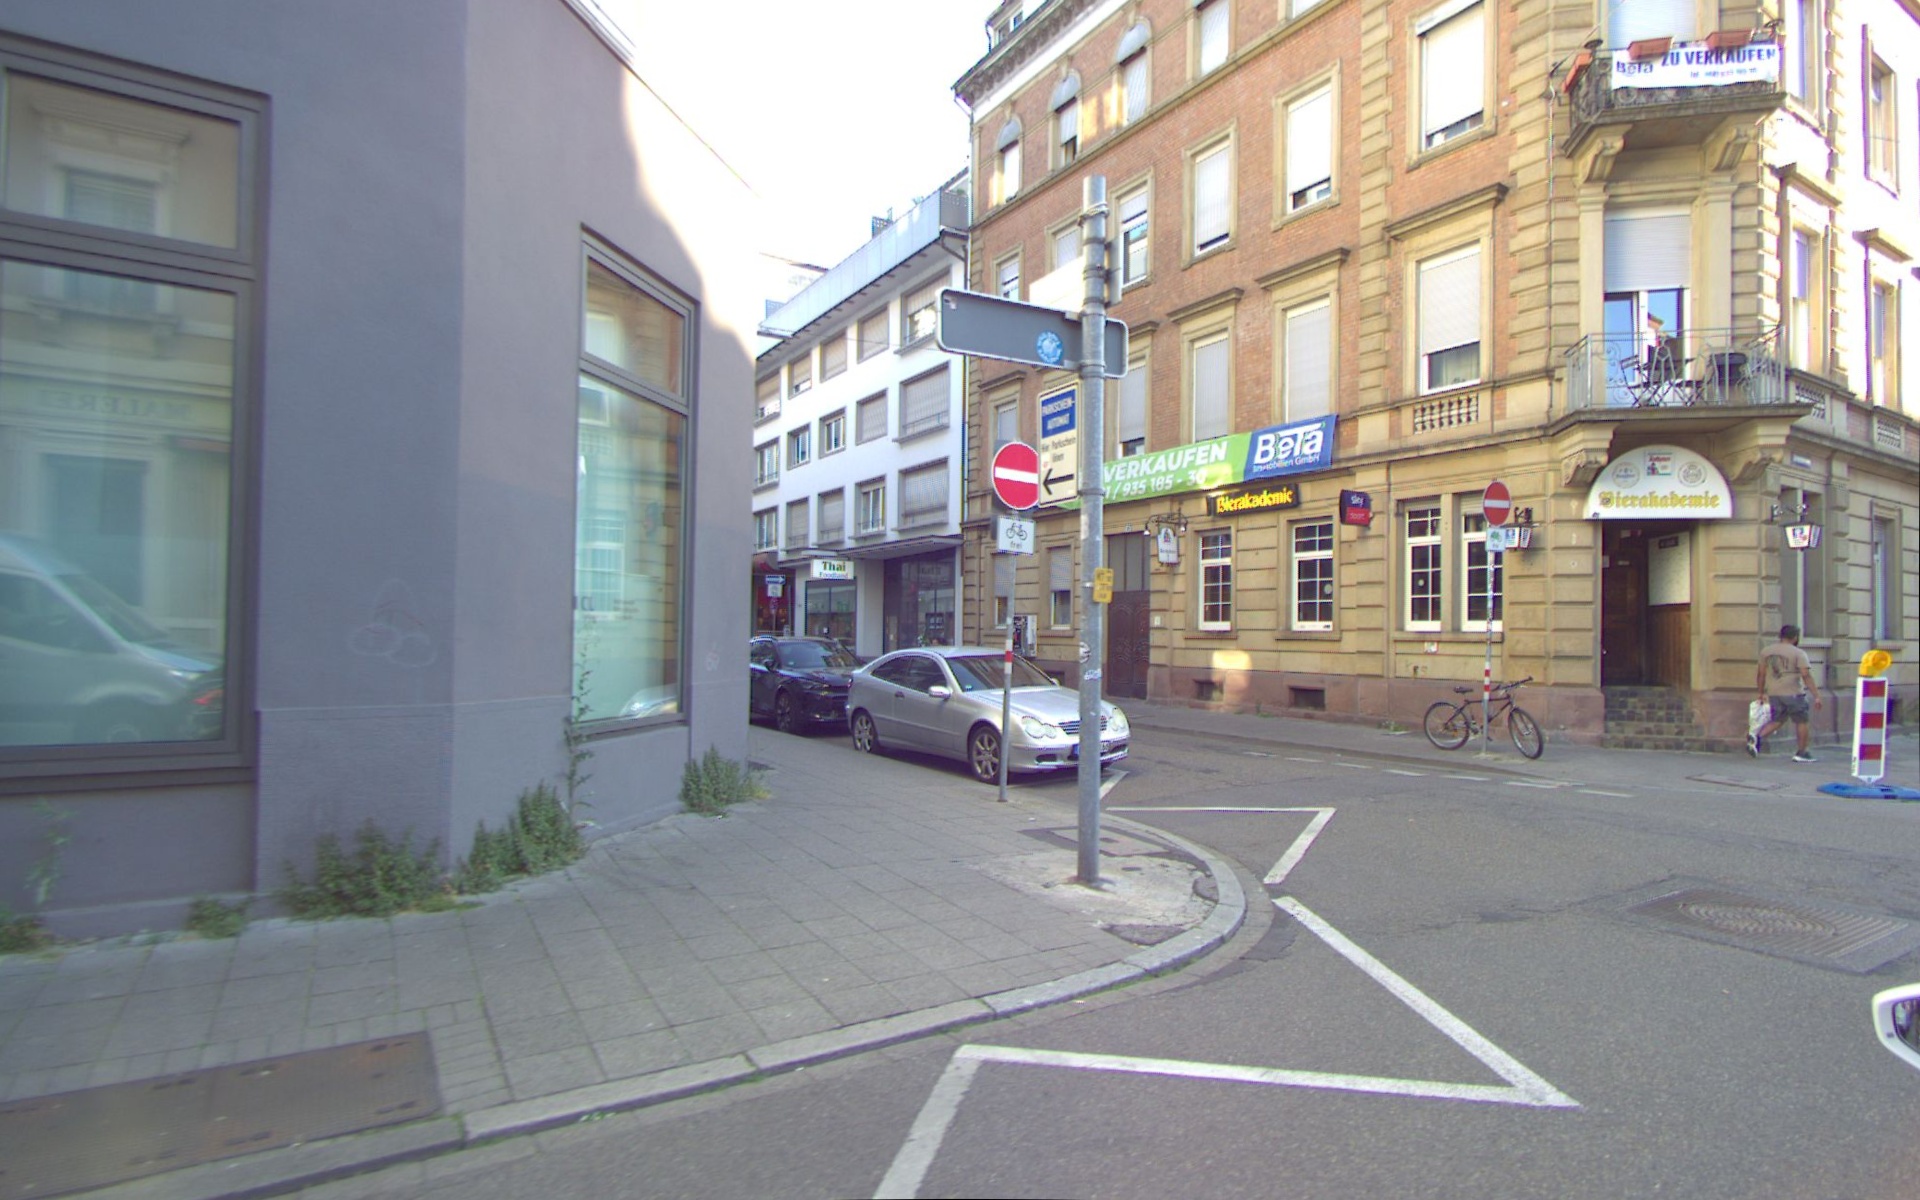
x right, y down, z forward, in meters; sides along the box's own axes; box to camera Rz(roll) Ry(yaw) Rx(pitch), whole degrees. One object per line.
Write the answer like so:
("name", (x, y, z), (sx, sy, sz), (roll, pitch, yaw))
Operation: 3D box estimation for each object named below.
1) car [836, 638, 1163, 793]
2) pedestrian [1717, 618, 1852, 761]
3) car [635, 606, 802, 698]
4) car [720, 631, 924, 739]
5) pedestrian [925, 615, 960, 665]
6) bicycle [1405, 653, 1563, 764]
("car", (0.250, 1.217, 12.169), (1.738, 1.420, 4.448), (0, -1, -33))
("pedestrian", (10.720, 1.134, 13.107), (0.996, 1.765, 0.985), (1, -1, 9))
("car", (-5.363, 1.080, 21.901), (2.311, 1.767, 4.450), (2, -2, -31))
("car", (-2.459, 1.326, 16.993), (1.992, 1.544, 4.083), (2, -2, -31))
("pedestrian", (-0.498, 1.108, 28.102), (0.824, 1.357, 0.804), (1, -1, -11))
("bicycle", (6.950, 1.403, 13.403), (0.654, 1.292, 1.746), (-2, 0, -35))
